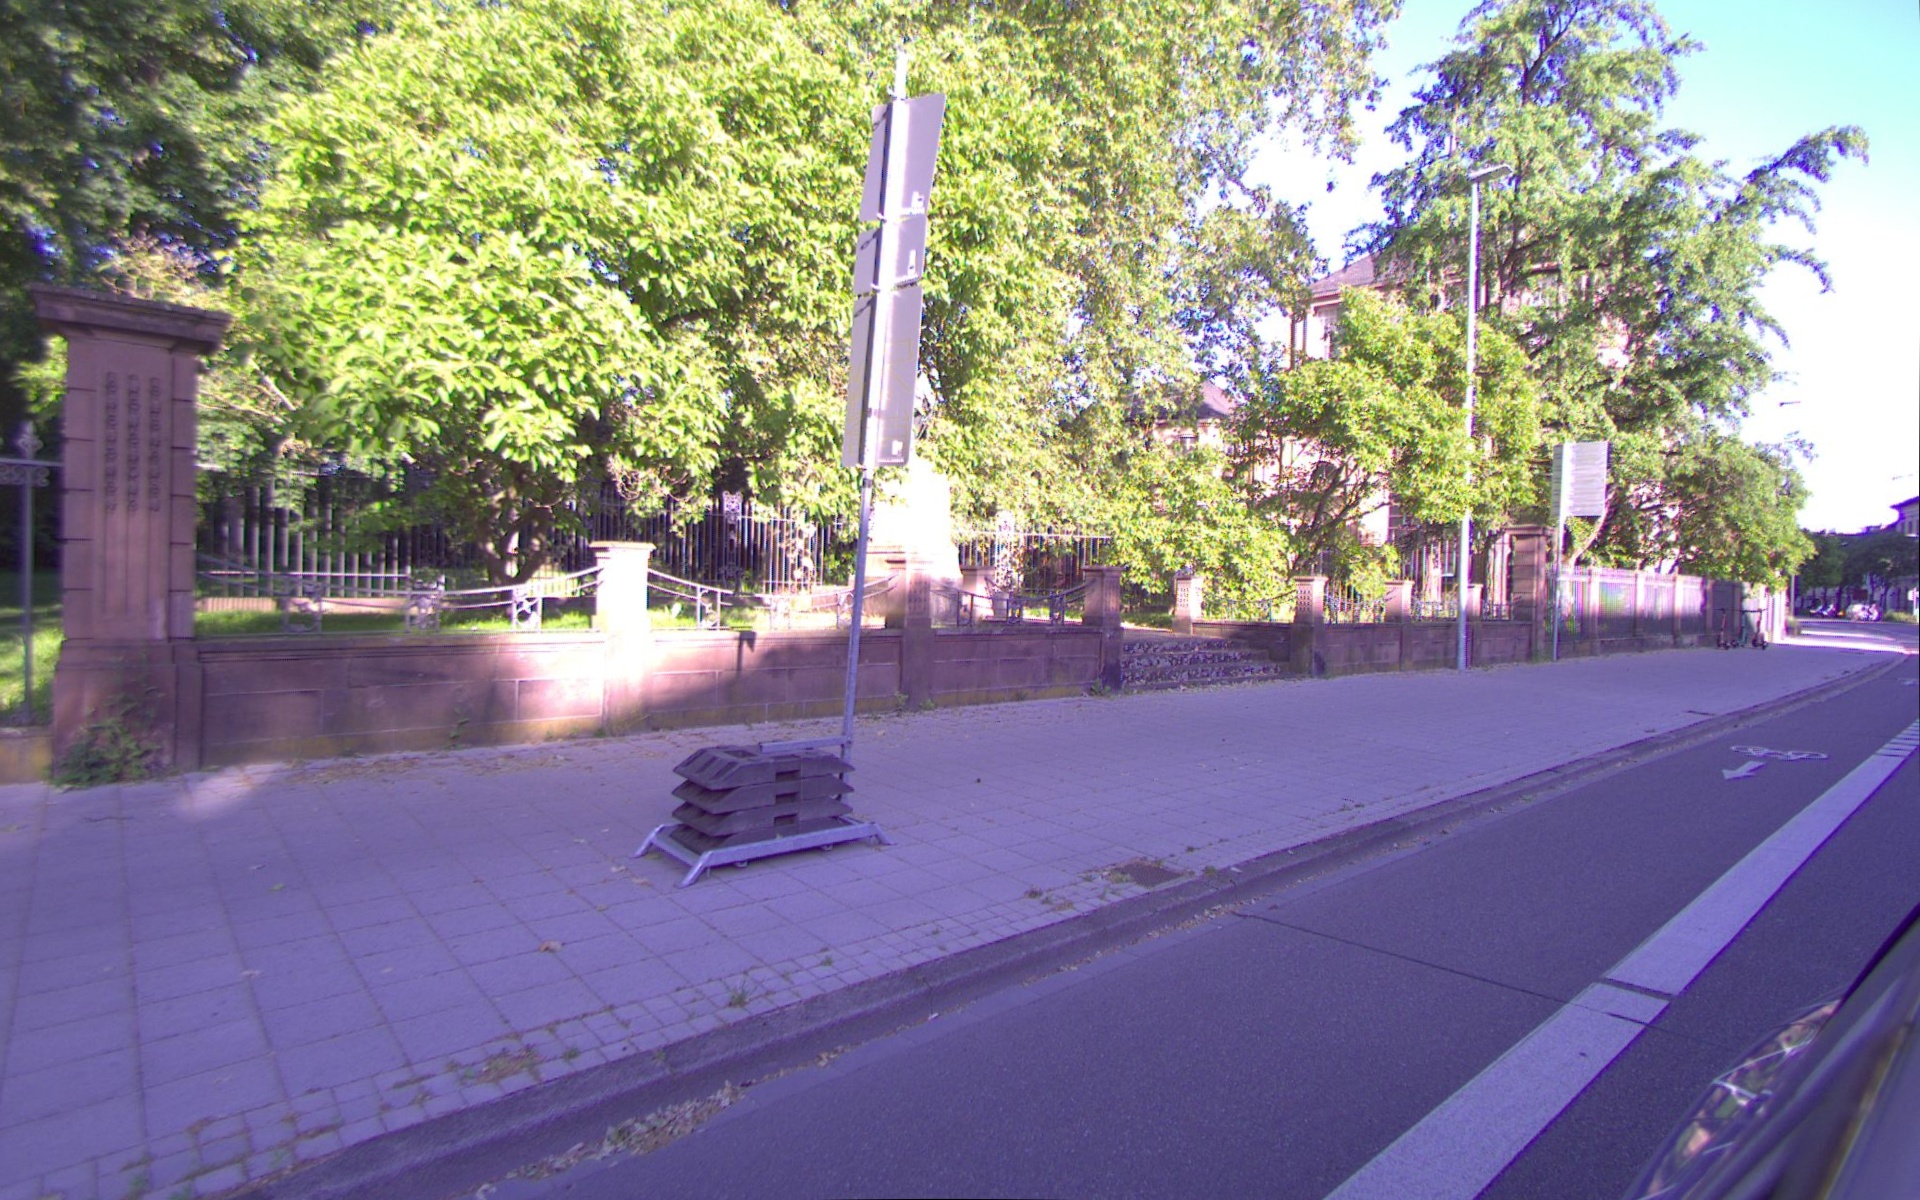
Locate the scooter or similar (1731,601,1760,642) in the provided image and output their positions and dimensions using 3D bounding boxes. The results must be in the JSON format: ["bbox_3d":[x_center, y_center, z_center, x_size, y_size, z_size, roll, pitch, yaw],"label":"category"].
[{"bbox_3d":[23.623,0.631,30.437,0.574,1.199,1.465,3,2,41],"label":"scooter or similar"}]

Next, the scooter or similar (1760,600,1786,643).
[{"bbox_3d":[24.723,0.642,30.786,0.514,1.255,1.502,2,2,37],"label":"scooter or similar"}]

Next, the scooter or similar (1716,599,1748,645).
[{"bbox_3d":[22.276,0.614,29.213,0.572,1.269,1.470,2,2,33],"label":"scooter or similar"}]
